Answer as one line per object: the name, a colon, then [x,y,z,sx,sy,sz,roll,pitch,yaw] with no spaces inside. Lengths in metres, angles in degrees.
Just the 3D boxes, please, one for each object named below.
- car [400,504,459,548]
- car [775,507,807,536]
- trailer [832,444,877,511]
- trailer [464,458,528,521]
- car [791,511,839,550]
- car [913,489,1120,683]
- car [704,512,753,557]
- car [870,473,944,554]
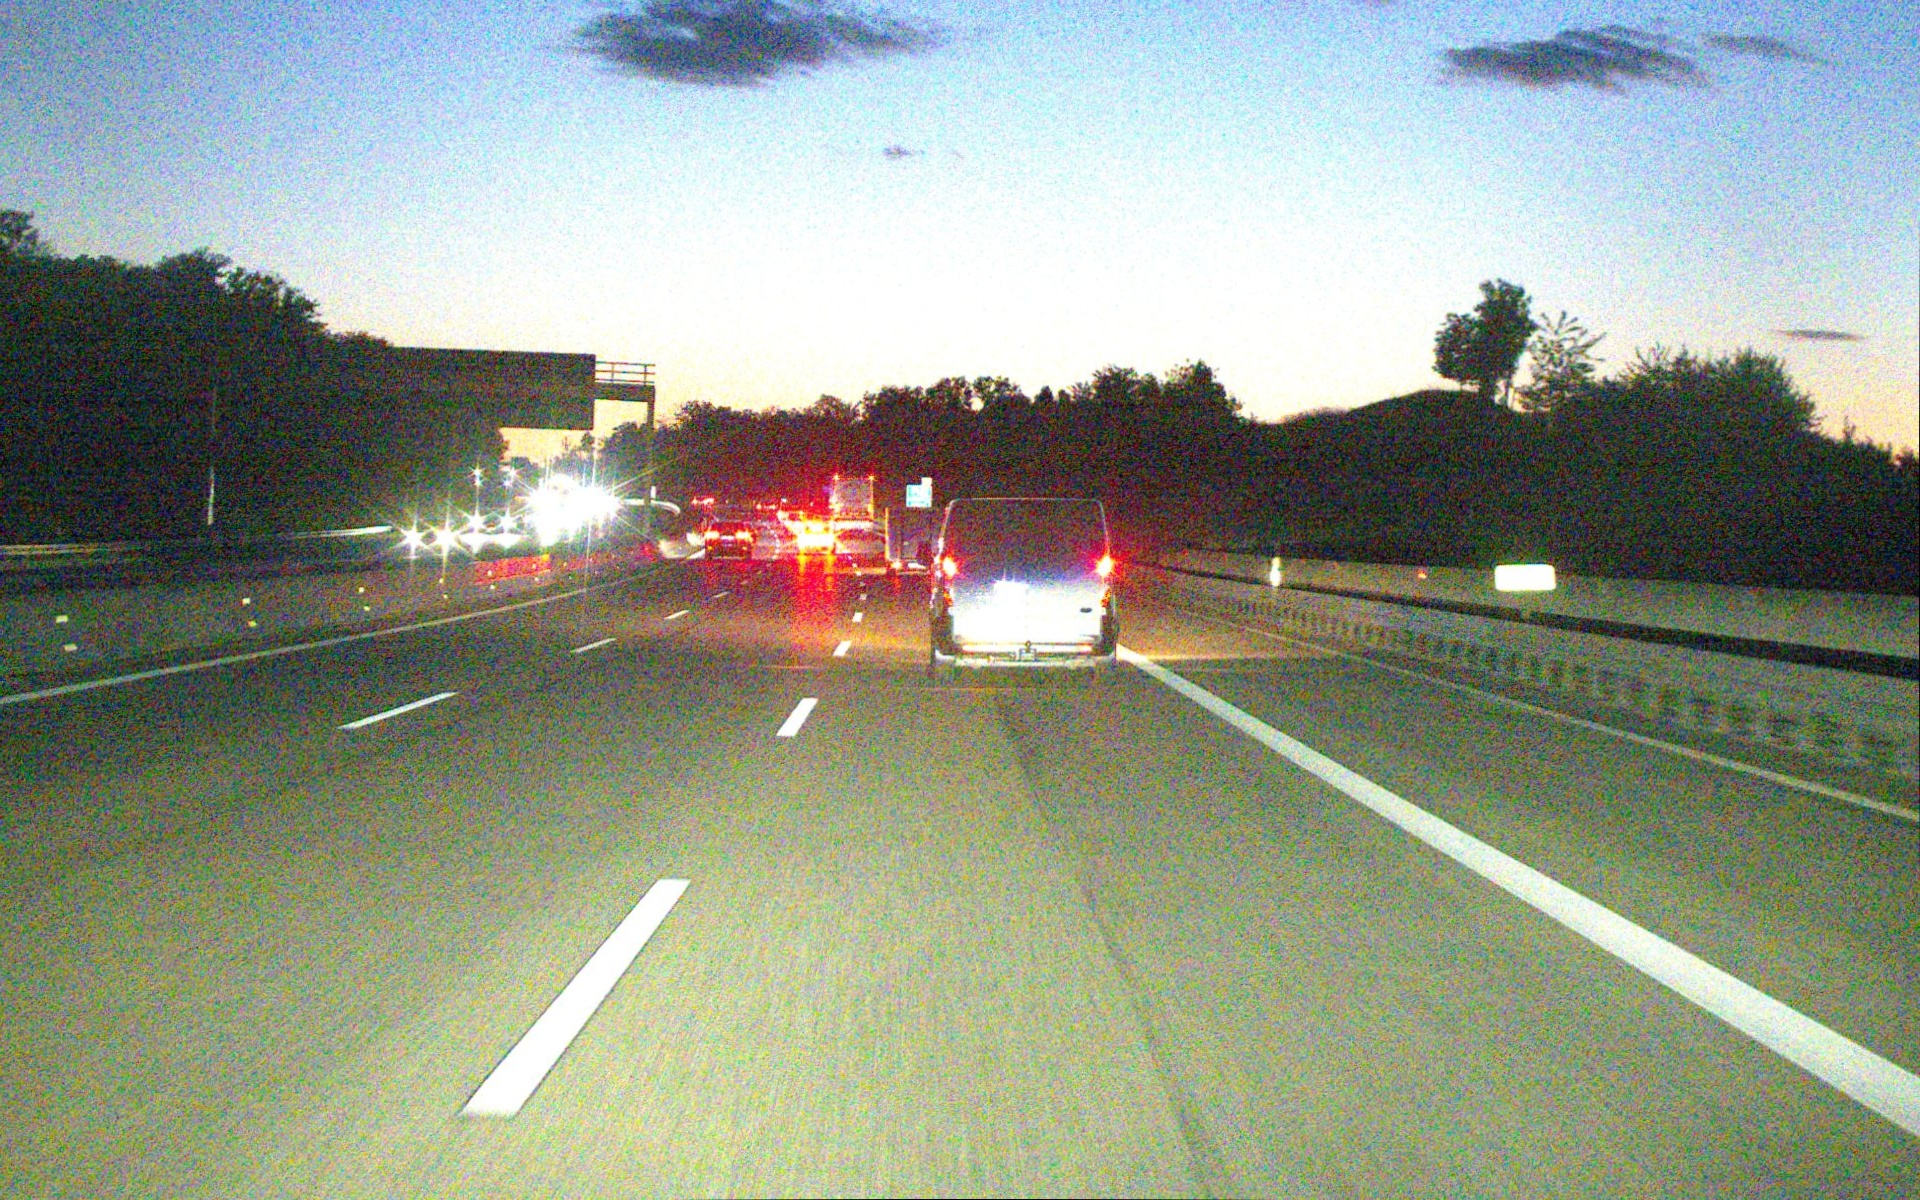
car: [-21.593,-3.002,140.147,1.822,1.688,4.674,0,0,-2]
car: [-10.983,-5.085,223.449,1.993,1.788,4.001,0,0,-4]
trailer: [-7.567,-8.666,245.580,2.829,4.242,17.051,0,0,-3]
trailer: [-29.949,-7.113,222.191,3.430,3.966,7.354,1,2,-2]
car: [-6.985,-3.335,165.143,1.993,1.788,4.001,0,0,-7]
car: [0.550,-0.230,38.388,2.115,1.994,5.664,0,2,-1]
car: [-9.688,-2.717,144.154,1.993,1.809,4.000,0,0,-3]
car: [-1.816,-2.937,115.605,2.032,2.637,5.726,0,2,-5]
